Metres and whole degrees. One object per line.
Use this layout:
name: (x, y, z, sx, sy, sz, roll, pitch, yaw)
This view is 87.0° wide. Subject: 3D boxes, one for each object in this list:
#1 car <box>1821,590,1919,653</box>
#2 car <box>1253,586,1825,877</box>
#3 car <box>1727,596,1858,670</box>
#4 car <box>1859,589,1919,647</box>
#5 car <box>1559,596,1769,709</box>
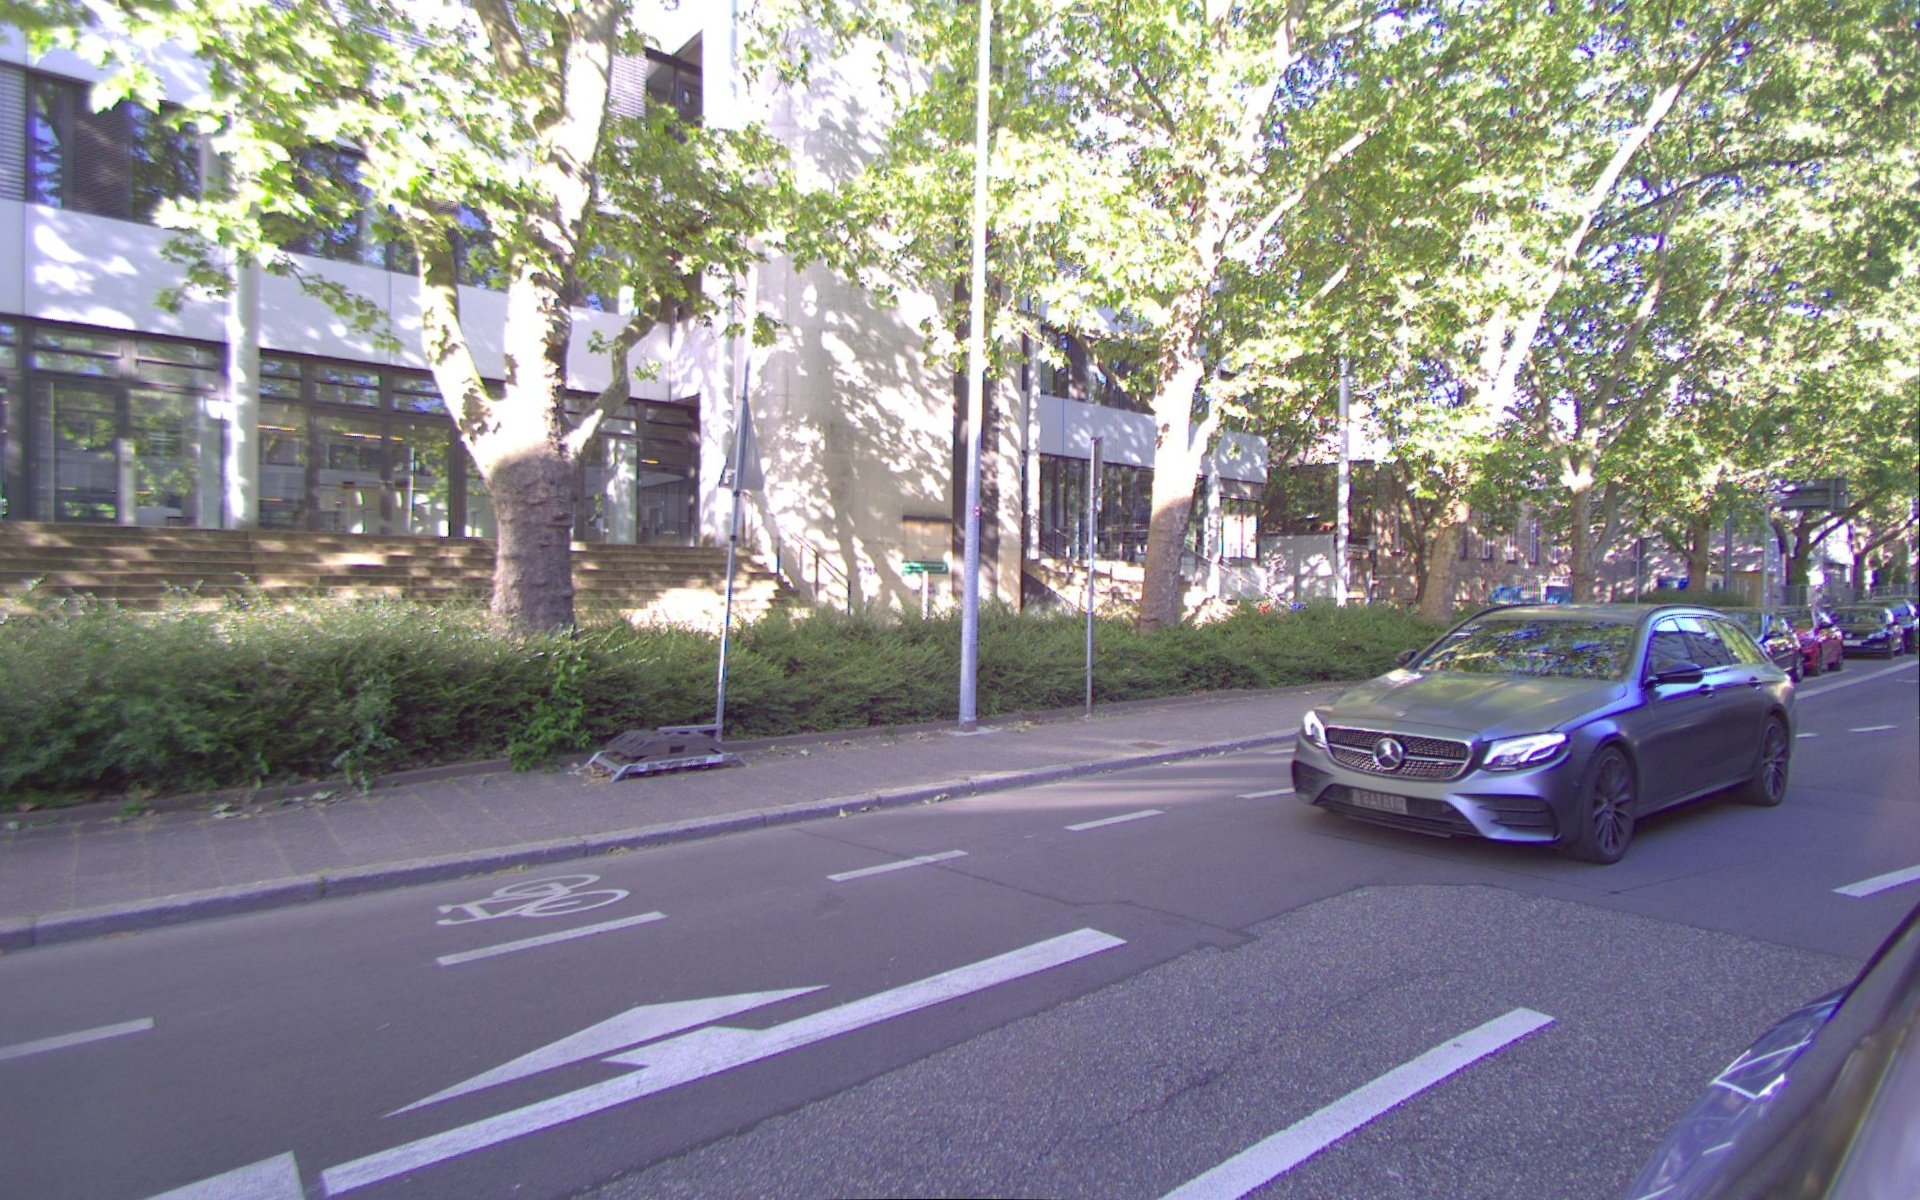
car: (25.971, 0.551, 28.779, 4.022, 1.653, 1.739, 0, 1, -42)
car: (4.357, 0.675, 7.324, 4.582, 1.483, 1.918, 0, -1, -37)
car: (18.631, 0.683, 22.591, 3.851, 1.511, 1.679, 0, -1, -42)
car: (29.591, 0.532, 31.758, 3.840, 1.708, 1.633, 0, 1, -42)
car: (11.224, 0.736, 16.034, 4.071, 1.548, 1.827, 0, -1, -42)
